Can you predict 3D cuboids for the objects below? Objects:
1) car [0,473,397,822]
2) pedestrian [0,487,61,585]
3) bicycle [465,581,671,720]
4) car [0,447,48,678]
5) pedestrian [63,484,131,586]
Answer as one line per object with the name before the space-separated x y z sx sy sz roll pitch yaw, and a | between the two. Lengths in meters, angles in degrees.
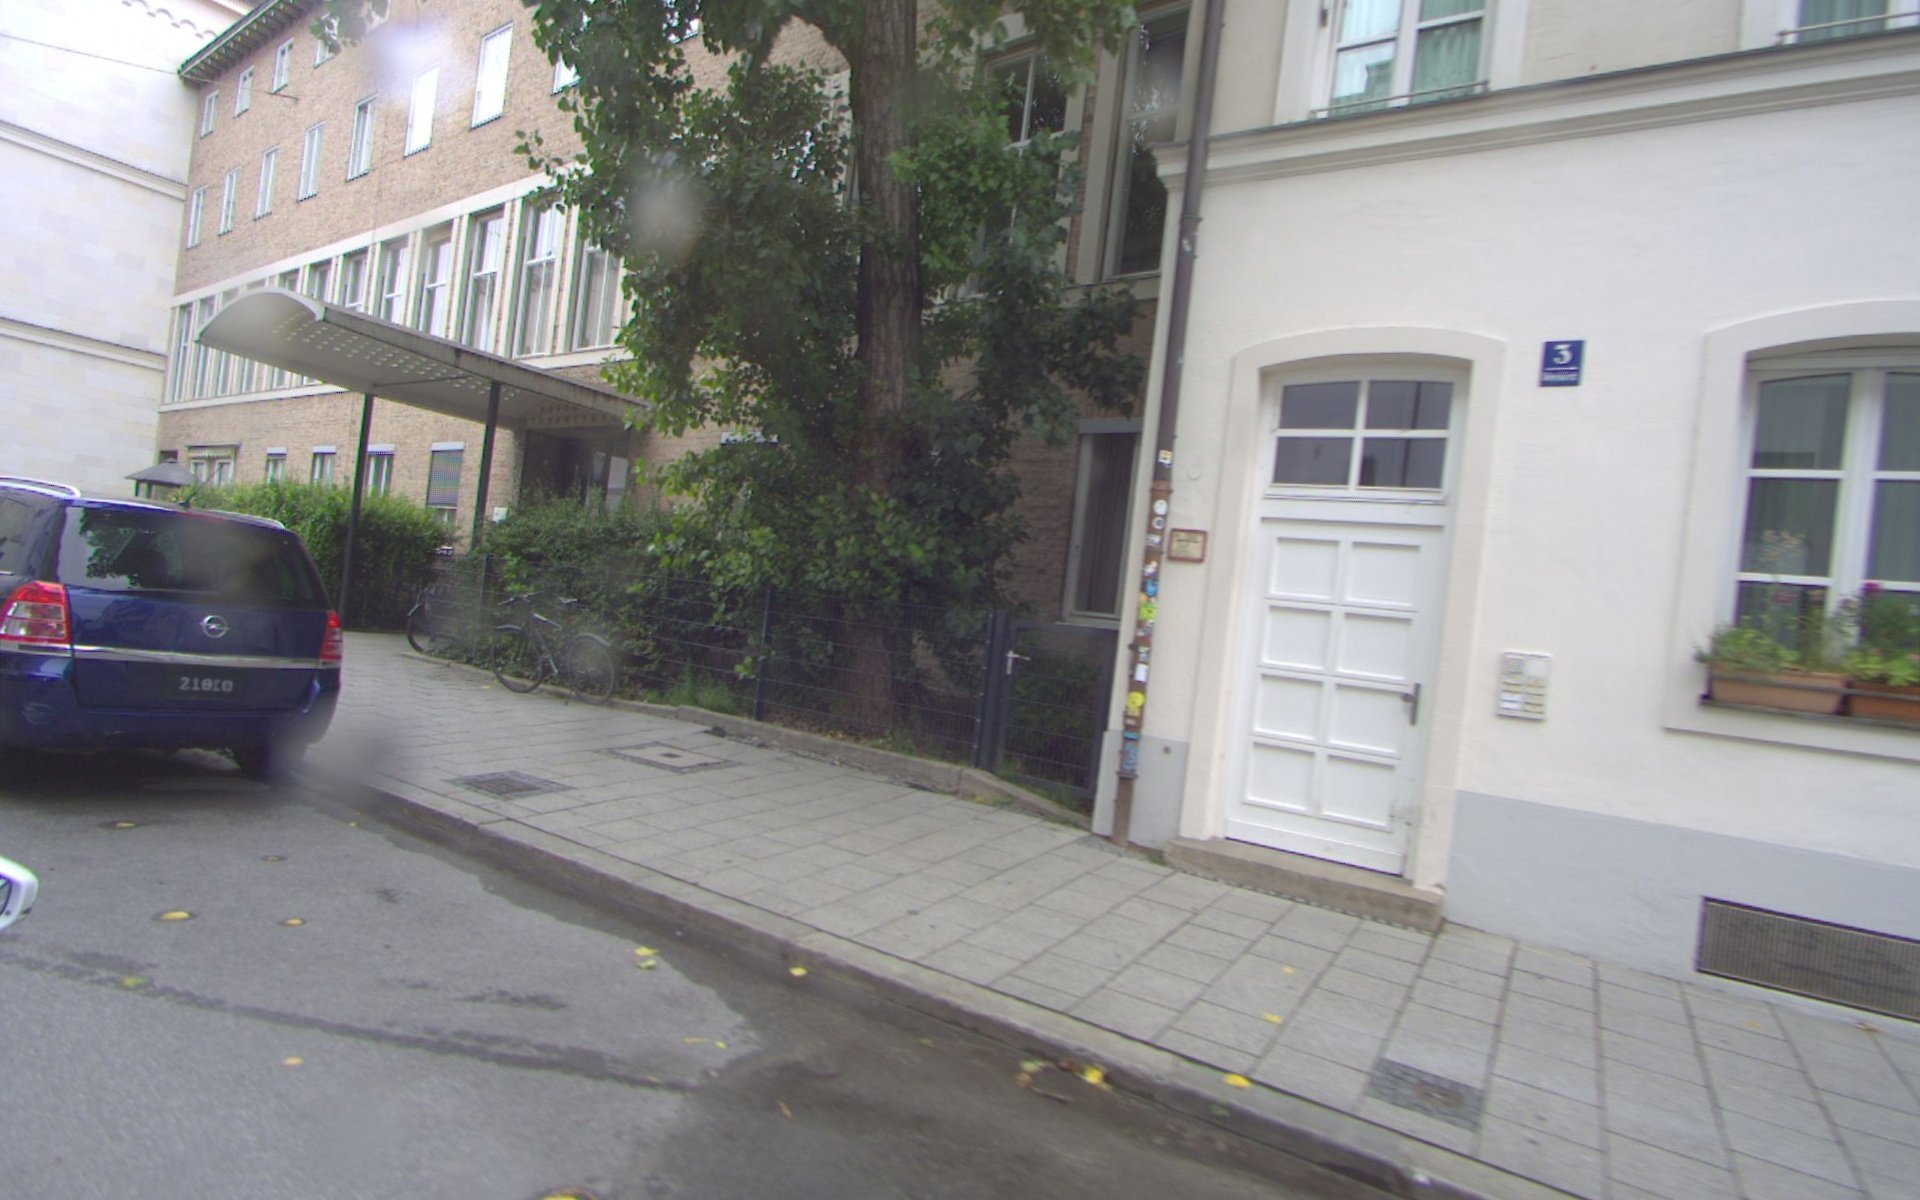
car | -5.761 0.096 6.447 4.144 1.619 1.811 7 -1 31
pedestrian | -16.209 -1.111 17.168 0.661 1.566 0.953 7 0 16
bicycle | -3.951 0.475 10.058 2.187 1.087 0.671 7 0 32
car | -10.484 -0.600 9.279 4.797 1.947 1.884 7 -1 34
pedestrian | -15.012 -1.134 17.498 0.864 1.652 0.588 7 -1 38
